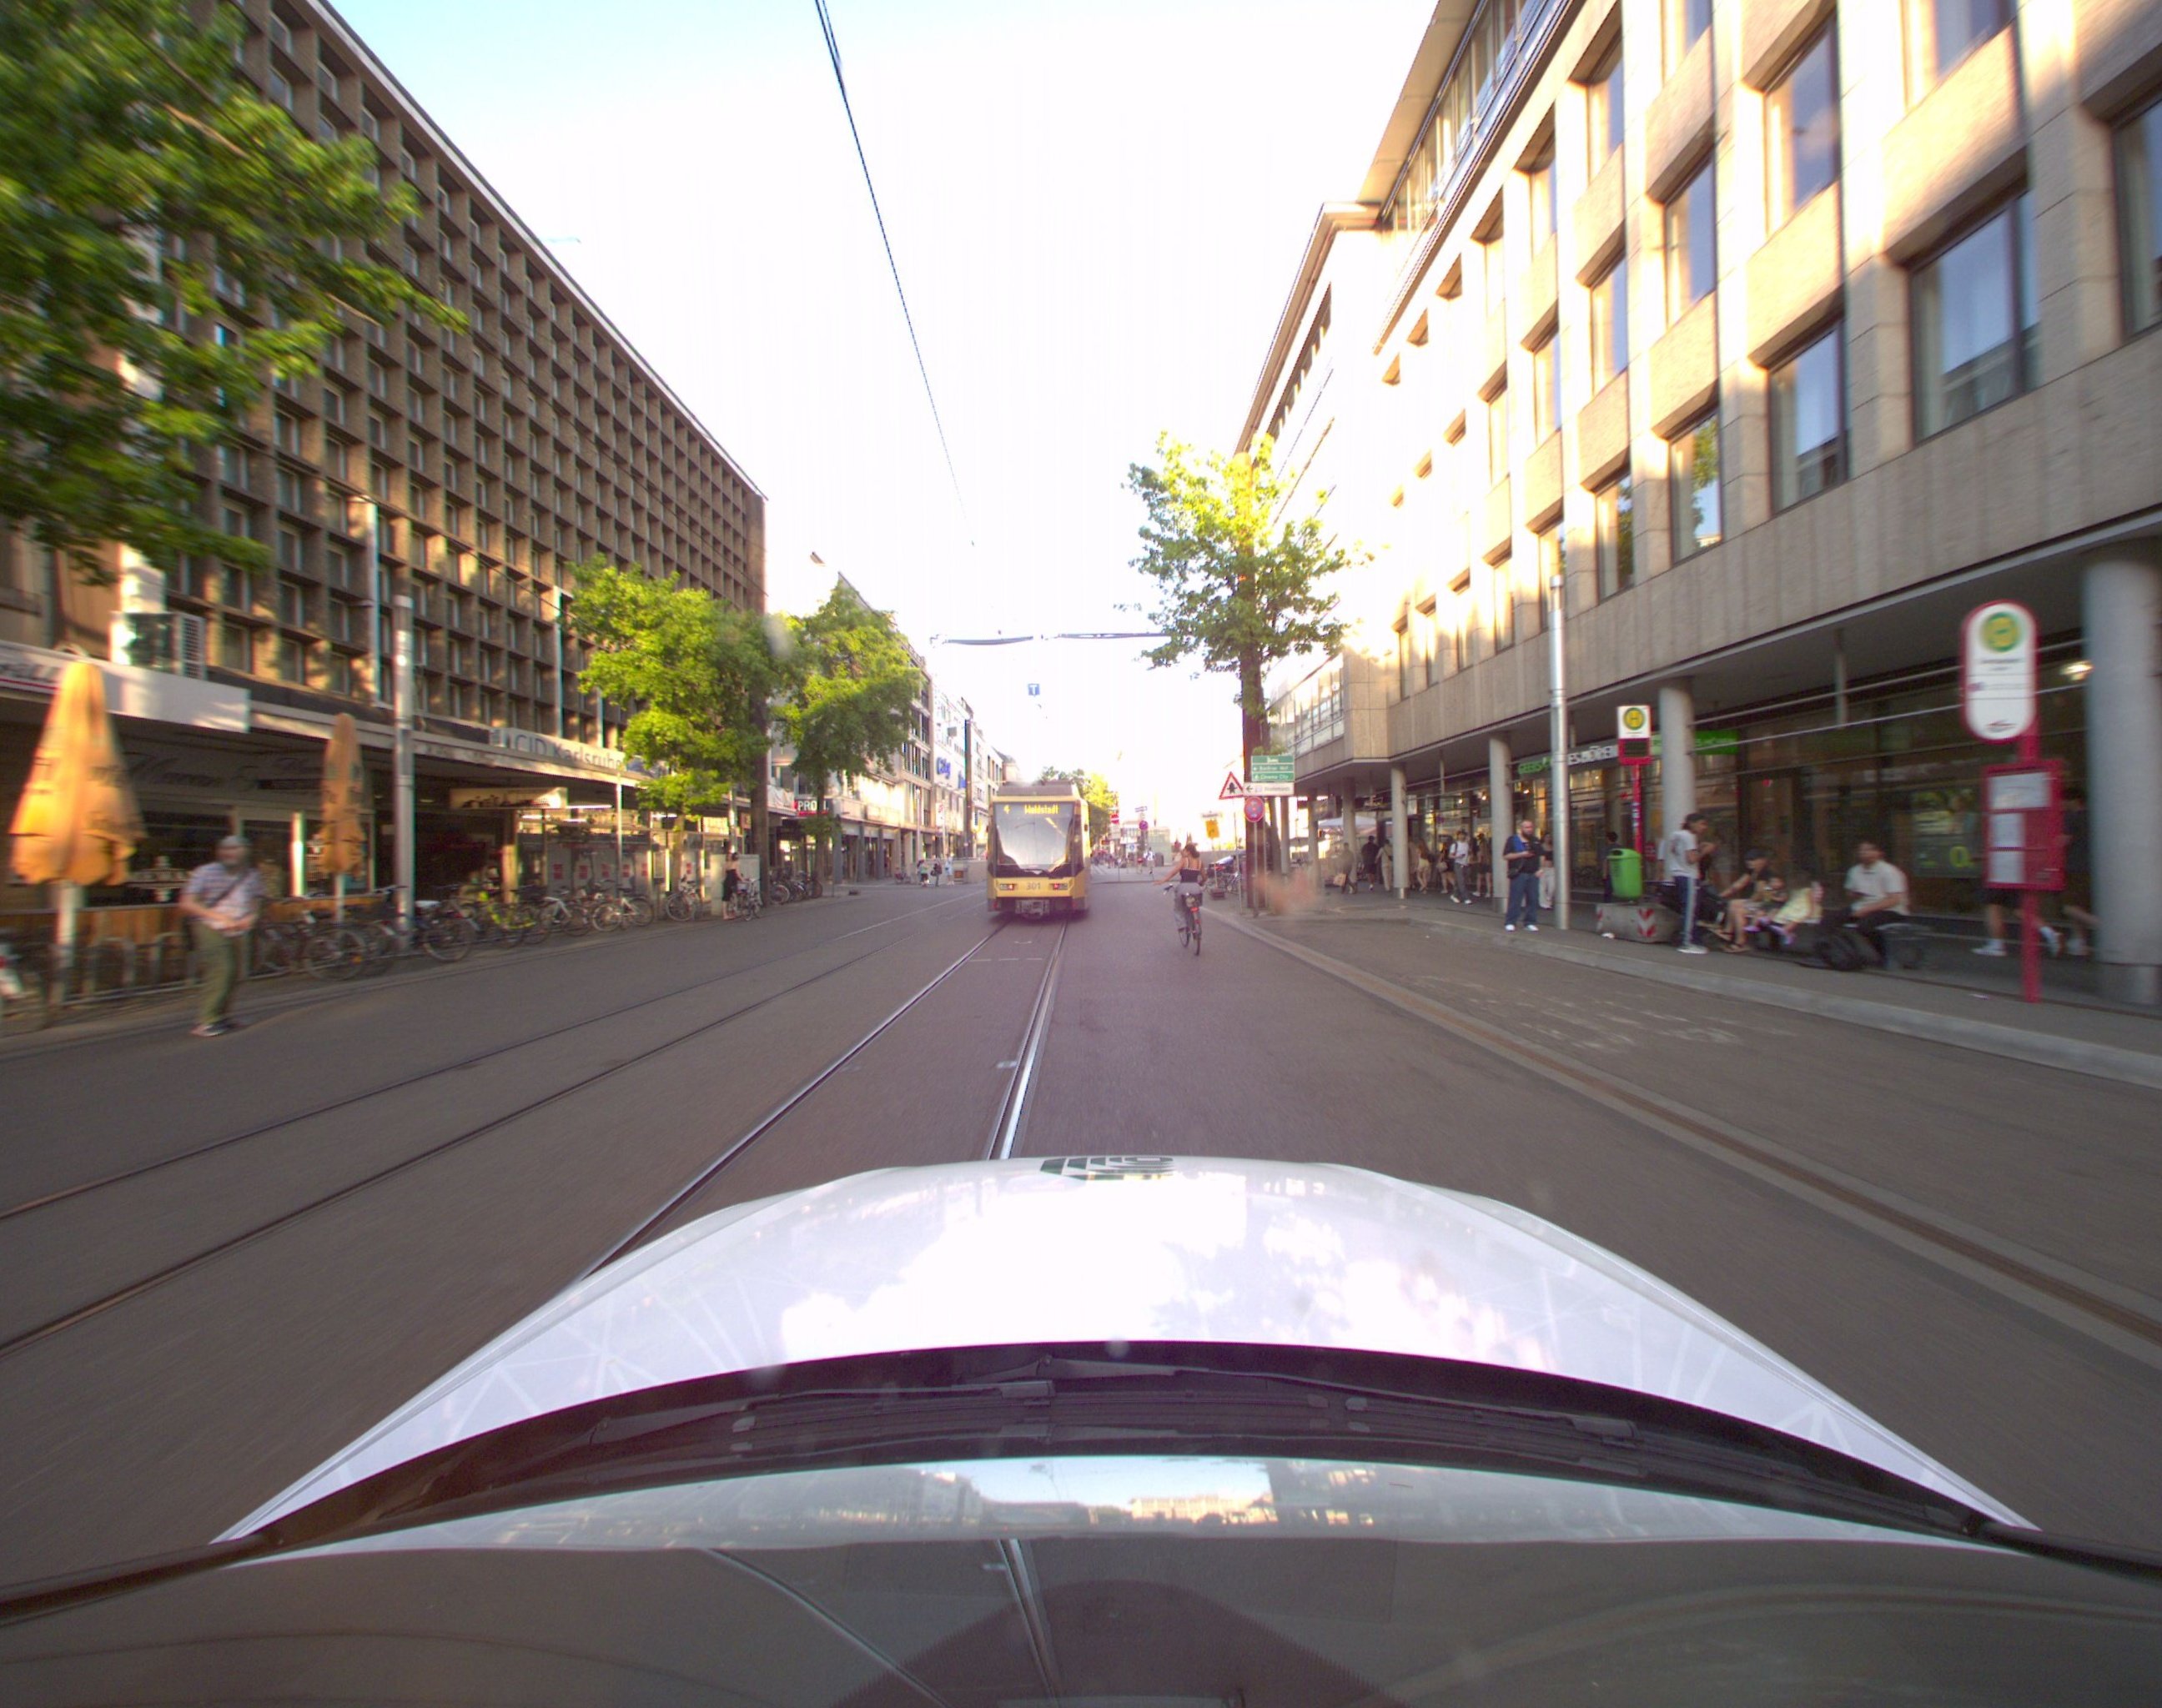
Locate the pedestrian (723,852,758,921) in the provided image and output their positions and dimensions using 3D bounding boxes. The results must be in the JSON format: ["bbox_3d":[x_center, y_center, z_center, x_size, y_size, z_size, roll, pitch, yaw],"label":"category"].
[{"bbox_3d":[-8.656,0.813,20.700,0.595,1.699,0.539,0,0,29],"label":"pedestrian"}]

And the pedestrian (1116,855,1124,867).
[{"bbox_3d":[4.118,0.753,85.955,0.790,1.221,0.768,-1,0,-3],"label":"pedestrian"}]

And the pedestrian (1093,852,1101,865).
[{"bbox_3d":[2.020,0.570,102.038,0.761,1.661,0.797,-1,0,12],"label":"pedestrian"}]

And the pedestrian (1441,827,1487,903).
[{"bbox_3d":[9.483,0.271,20.208,0.666,1.839,0.880,-2,-1,0],"label":"pedestrian"}]

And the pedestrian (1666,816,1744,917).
[{"bbox_3d":[11.451,0.225,14.971,0.770,1.772,0.773,-2,-1,-1],"label":"pedestrian"}]

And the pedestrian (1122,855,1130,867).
[{"bbox_3d":[4.711,0.742,85.152,0.790,1.221,0.768,-1,0,-3],"label":"pedestrian"}]

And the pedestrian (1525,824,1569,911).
[{"bbox_3d":[10.039,0.287,17.571,0.537,1.806,0.604,-2,0,-1],"label":"pedestrian"}]

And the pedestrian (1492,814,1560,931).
[{"bbox_3d":[7.307,0.296,13.395,0.666,1.839,0.708,-2,-1,0],"label":"pedestrian"}]

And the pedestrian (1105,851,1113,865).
[{"bbox_3d":[3.382,0.514,98.206,0.787,1.661,0.772,-1,0,12],"label":"pedestrian"}]

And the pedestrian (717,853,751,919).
[{"bbox_3d":[-9.026,0.820,21.198,0.595,1.699,0.539,0,0,29],"label":"pedestrian"}]

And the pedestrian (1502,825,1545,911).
[{"bbox_3d":[9.501,0.292,17.509,0.537,1.806,0.604,-2,0,-1],"label":"pedestrian"}]

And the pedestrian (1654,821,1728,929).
[{"bbox_3d":[9.767,0.331,13.056,0.646,1.661,0.650,-2,0,1],"label":"pedestrian"}]

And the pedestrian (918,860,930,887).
[{"bbox_3d":[-8.871,1.107,46.150,0.603,1.494,0.554,-1,-1,-8],"label":"pedestrian"}]

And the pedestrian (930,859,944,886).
[{"bbox_3d":[-8.286,1.047,46.867,0.682,1.542,0.605,-1,-1,-1],"label":"pedestrian"}]

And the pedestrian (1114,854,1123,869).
[{"bbox_3d":[4.141,0.851,90.027,0.759,1.579,0.800,-1,0,30],"label":"pedestrian"}]

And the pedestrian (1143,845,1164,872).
[{"bbox_3d":[5.025,0.313,56.673,1.020,1.863,1.032,0,-1,-31],"label":"pedestrian"}]

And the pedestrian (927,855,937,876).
[{"bbox_3d":[-12.299,0.966,67.130,0.711,1.725,0.709,-1,-1,-1],"label":"pedestrian"}]

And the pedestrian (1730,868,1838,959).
[{"bbox_3d":[8.379,0.697,9.724,0.810,1.042,0.544,-1,-1,2],"label":"pedestrian"}]

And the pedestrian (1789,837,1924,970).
[{"bbox_3d":[8.388,0.515,8.836,0.810,1.381,0.662,-1,-1,2],"label":"pedestrian"}]

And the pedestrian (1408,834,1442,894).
[{"bbox_3d":[10.481,0.294,24.822,0.660,1.787,0.719,-2,-1,1],"label":"pedestrian"}]

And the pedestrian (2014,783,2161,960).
[{"bbox_3d":[11.343,0.188,9.184,0.685,1.883,0.773,-2,0,-1],"label":"pedestrian"}]

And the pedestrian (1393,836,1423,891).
[{"bbox_3d":[10.833,0.307,26.999,0.660,1.787,0.719,-2,-1,1],"label":"pedestrian"}]

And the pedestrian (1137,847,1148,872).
[{"bbox_3d":[4.327,0.410,57.163,0.716,1.725,0.709,-1,-1,0],"label":"pedestrian"}]

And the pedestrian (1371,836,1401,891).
[{"bbox_3d":[10.137,0.314,27.102,0.660,1.787,0.719,-2,-1,1],"label":"pedestrian"}]

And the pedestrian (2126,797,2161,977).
[{"bbox_3d":[10.243,0.294,7.364,0.645,1.661,0.681,-2,0,1],"label":"pedestrian"}]

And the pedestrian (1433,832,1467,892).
[{"bbox_3d":[11.222,0.234,24.790,0.660,1.787,0.719,-2,-1,1],"label":"pedestrian"}]

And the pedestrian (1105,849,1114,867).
[{"bbox_3d":[2.878,0.439,82.274,0.734,1.823,0.816,-1,0,-14],"label":"pedestrian"}]

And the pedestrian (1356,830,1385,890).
[{"bbox_3d":[10.002,0.199,28.153,0.684,2.013,0.783,-2,0,1],"label":"pedestrian"}]

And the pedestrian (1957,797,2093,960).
[{"bbox_3d":[10.685,0.271,9.249,0.580,1.753,0.773,-2,0,-1],"label":"pedestrian"}]

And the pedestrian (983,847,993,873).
[{"bbox_3d":[-7.155,0.464,62.469,0.712,1.925,0.708,-1,-1,-5],"label":"pedestrian"}]

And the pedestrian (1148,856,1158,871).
[{"bbox_3d":[7.917,1.079,89.645,0.773,1.661,0.785,-1,0,-41],"label":"pedestrian"}]

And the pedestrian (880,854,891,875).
[{"bbox_3d":[-16.665,0.918,69.503,0.711,1.725,0.709,-1,-1,-1],"label":"pedestrian"}]

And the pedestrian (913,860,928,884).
[{"bbox_3d":[-9.739,1.097,49.511,0.548,1.434,0.689,-2,-2,38],"label":"pedestrian"}]

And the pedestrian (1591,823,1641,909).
[{"bbox_3d":[11.196,0.246,17.052,0.568,1.731,0.617,-2,0,-1],"label":"pedestrian"}]

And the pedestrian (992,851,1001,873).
[{"bbox_3d":[-6.782,0.631,65.535,0.712,1.698,0.784,-1,-1,-6],"label":"pedestrian"}]

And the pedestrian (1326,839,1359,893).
[{"bbox_3d":[8.485,0.386,26.454,0.760,1.719,0.924,-2,-1,1],"label":"pedestrian"}]

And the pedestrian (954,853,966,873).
[{"bbox_3d":[-9.735,0.745,65.511,0.631,1.588,0.598,0,-2,-42],"label":"pedestrian"}]

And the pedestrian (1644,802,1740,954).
[{"bbox_3d":[7.719,0.295,10.313,0.637,1.839,0.668,-2,-1,1],"label":"pedestrian"}]

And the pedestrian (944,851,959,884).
[{"bbox_3d":[-7.738,0.790,48.676,0.772,1.926,0.707,-1,-1,-8],"label":"pedestrian"}]

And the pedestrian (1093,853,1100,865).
[{"bbox_3d":[2.226,0.661,115.714,0.787,1.661,0.772,-1,0,12],"label":"pedestrian"}]
